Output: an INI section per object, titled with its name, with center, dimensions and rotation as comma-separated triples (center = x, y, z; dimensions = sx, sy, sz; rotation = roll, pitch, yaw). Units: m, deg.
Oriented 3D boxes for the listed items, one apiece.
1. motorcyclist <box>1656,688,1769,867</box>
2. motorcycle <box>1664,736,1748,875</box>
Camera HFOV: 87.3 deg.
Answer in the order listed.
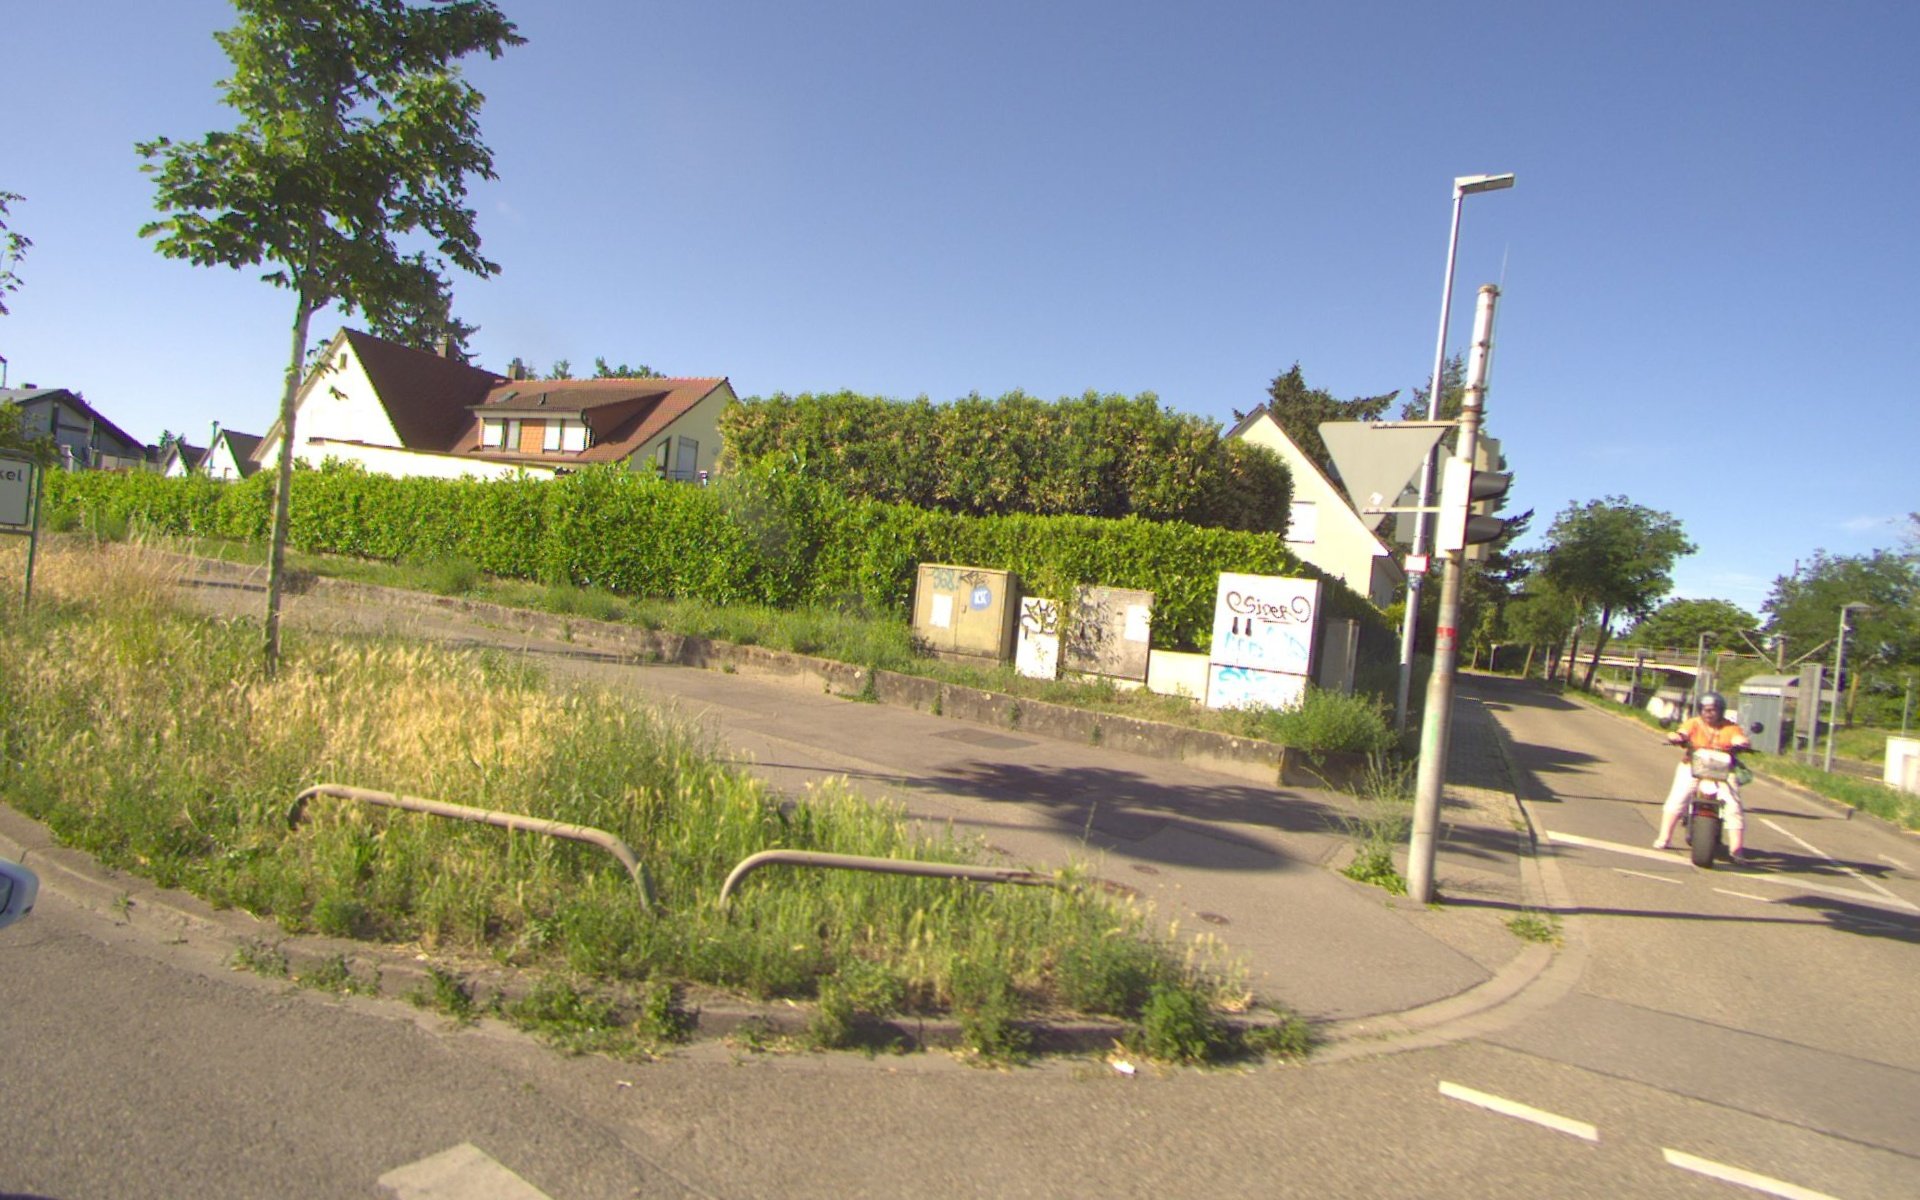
[motorcyclist]
center = 7.334, 1.691, 9.840
dimensions = 0.688, 1.577, 0.693
rotation = 7, 1, 33
[motorcycle]
center = 7.192, 1.931, 9.745
dimensions = 0.444, 1.084, 1.757
rotation = 7, 0, 33
